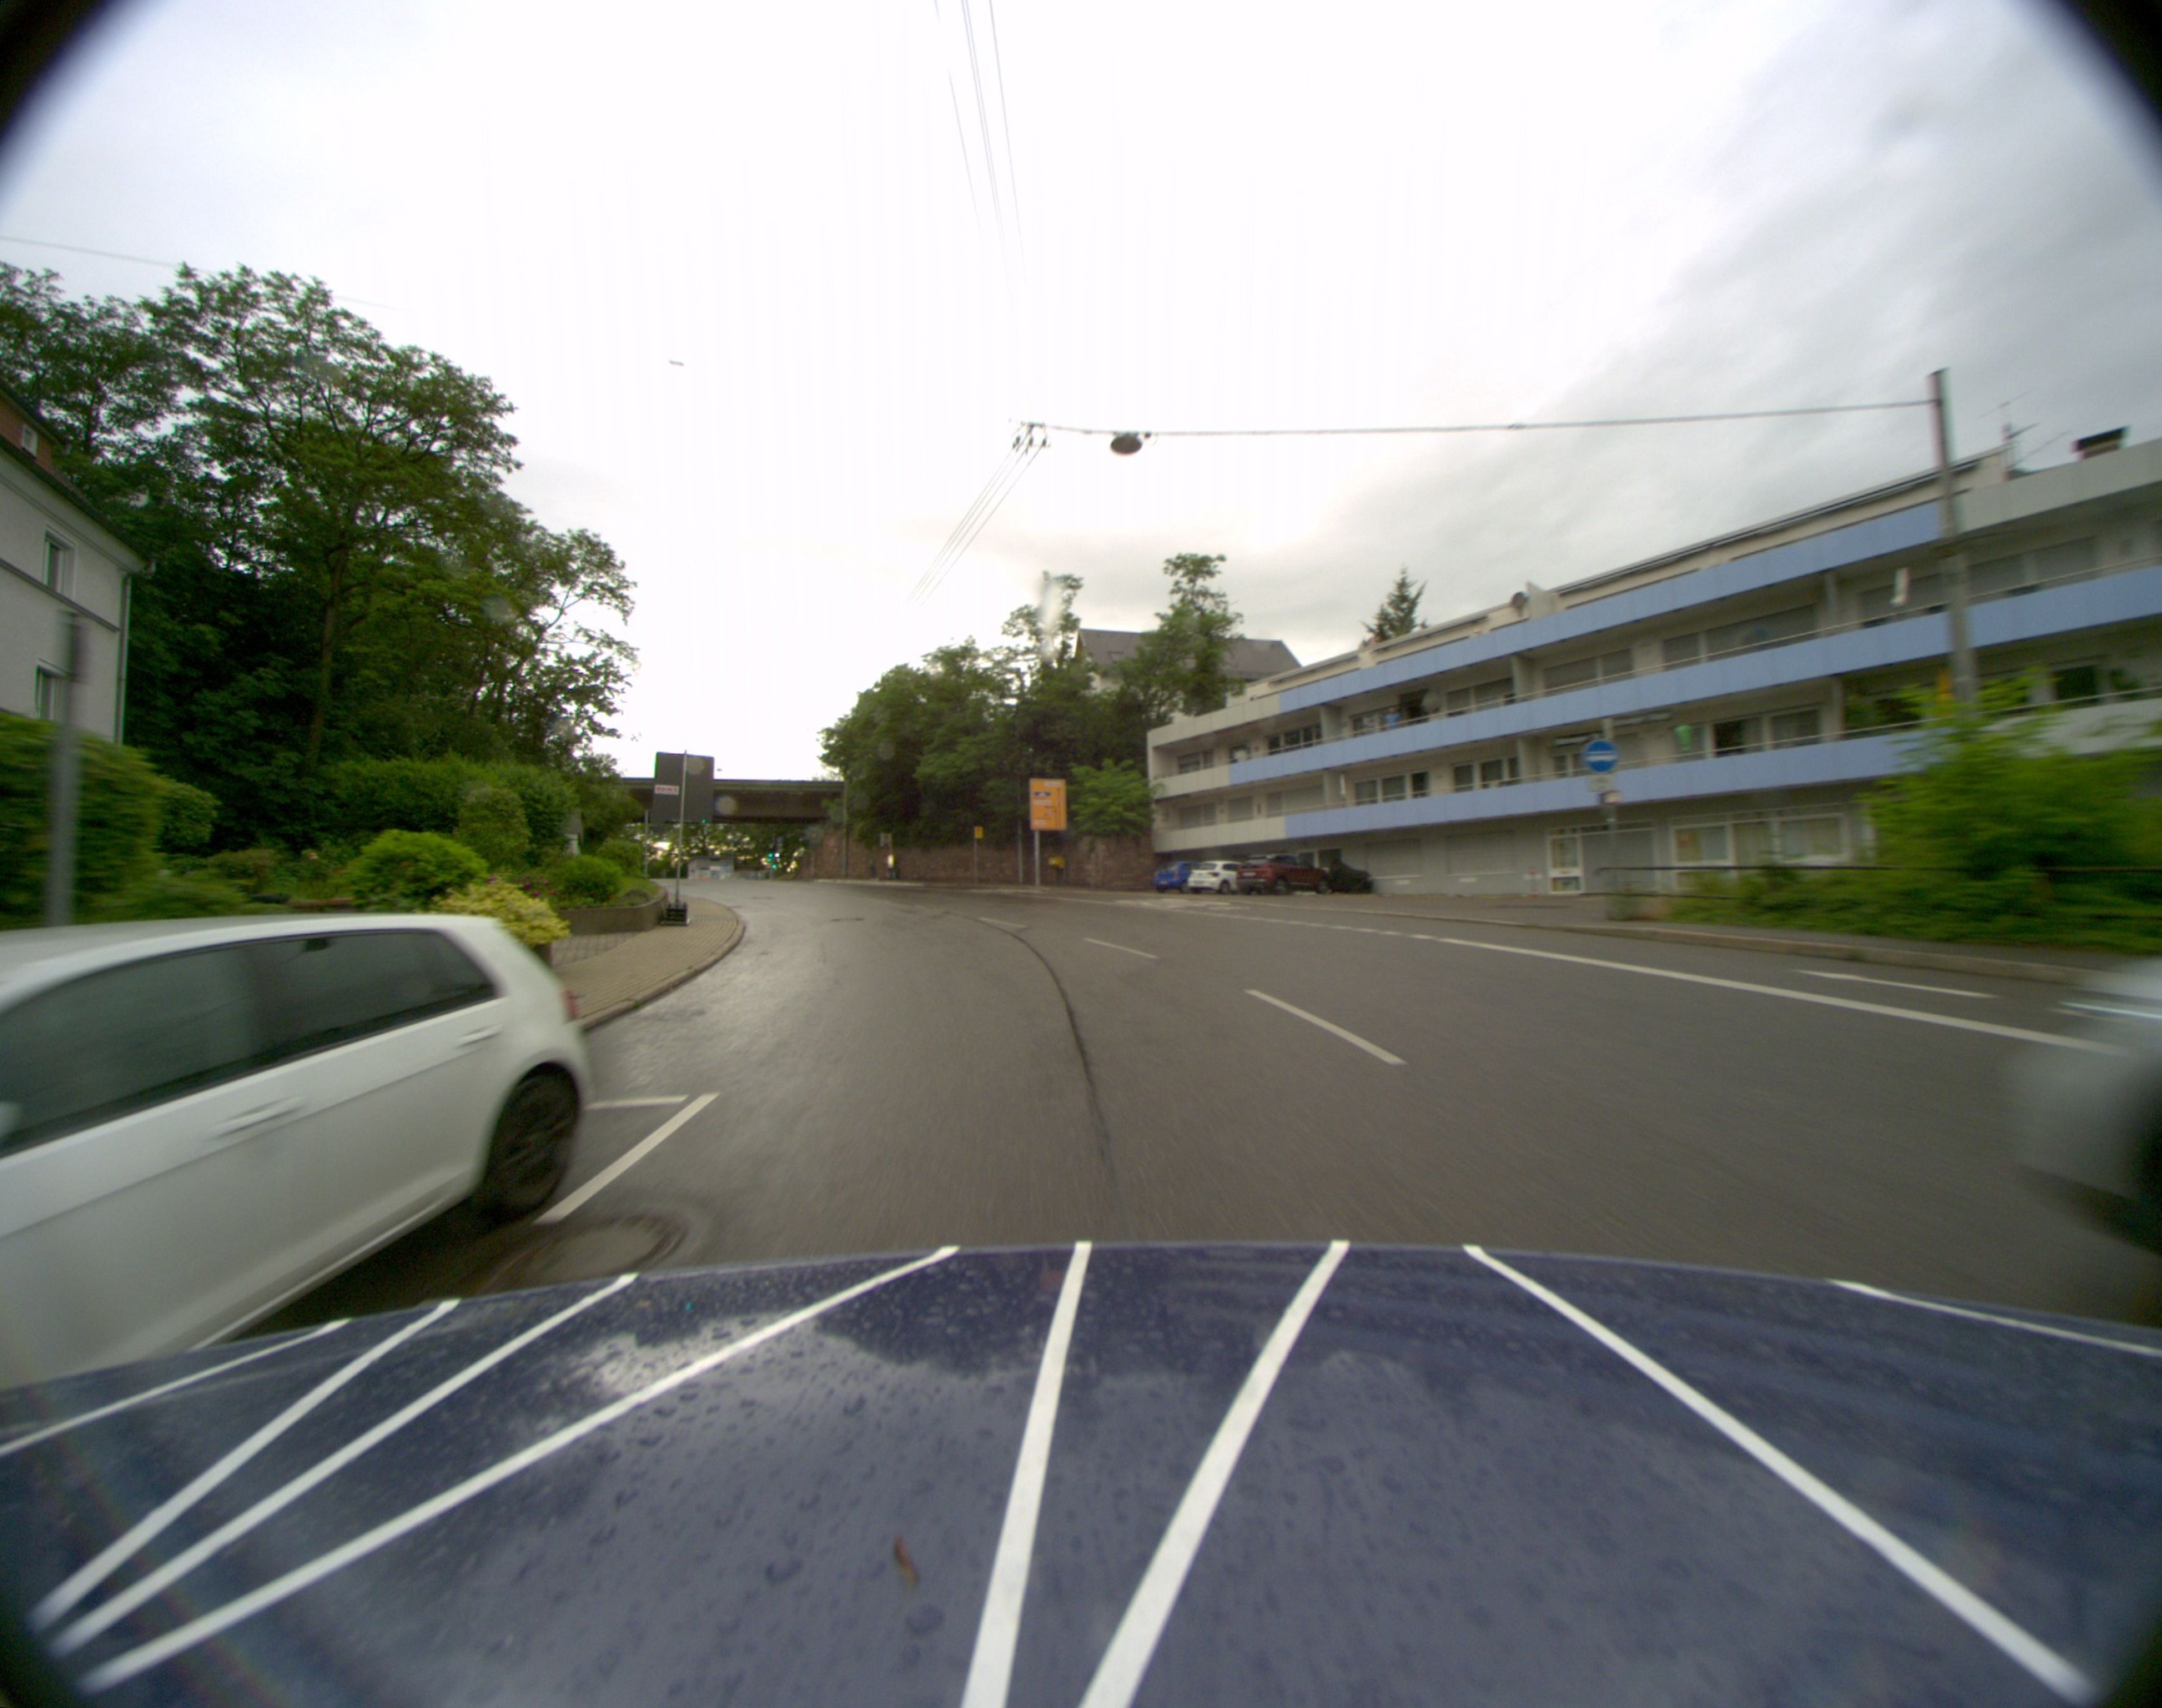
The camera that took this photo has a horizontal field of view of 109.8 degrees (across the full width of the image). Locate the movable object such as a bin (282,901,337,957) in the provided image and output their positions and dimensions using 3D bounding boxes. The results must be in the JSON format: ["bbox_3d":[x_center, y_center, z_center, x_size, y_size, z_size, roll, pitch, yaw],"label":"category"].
[{"bbox_3d":[-13.795,1.329,13.609,0.485,0.893,0.688,-1,2,-28],"label":"movable object such as a bin"}]

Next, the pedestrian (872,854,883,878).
[{"bbox_3d":[-14.934,0.862,55.707,0.590,1.722,0.621,-2,2,-39],"label":"pedestrian"}]

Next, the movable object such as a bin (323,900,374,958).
[{"bbox_3d":[-13.347,1.360,13.857,0.485,0.964,0.688,-1,2,-28],"label":"movable object such as a bin"}]

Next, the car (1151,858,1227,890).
[{"bbox_3d":[5.033,0.936,35.291,3.449,1.382,1.632,2,-1,-41],"label":"car"}]

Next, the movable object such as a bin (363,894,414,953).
[{"bbox_3d":[-12.843,1.278,14.107,0.532,1.007,0.688,-1,2,-28],"label":"movable object such as a bin"}]

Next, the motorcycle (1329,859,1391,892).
[{"bbox_3d":[11.499,0.857,31.388,2.329,1.303,0.575,0,2,37],"label":"motorcycle"}]

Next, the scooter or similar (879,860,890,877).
[{"bbox_3d":[-14.592,1.078,56.520,0.375,1.175,1.122,-2,2,-37],"label":"scooter or similar"}]

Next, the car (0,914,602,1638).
[{"bbox_3d":[-3.390,1.107,1.895,1.794,1.438,4.104,-3,1,-2],"label":"car"}]

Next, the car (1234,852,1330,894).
[{"bbox_3d":[7.967,0.756,29.974,3.944,1.540,1.711,1,-1,-39],"label":"car"}]

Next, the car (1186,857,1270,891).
[{"bbox_3d":[6.420,0.897,33.138,3.449,1.436,1.704,2,-2,-37],"label":"car"}]
